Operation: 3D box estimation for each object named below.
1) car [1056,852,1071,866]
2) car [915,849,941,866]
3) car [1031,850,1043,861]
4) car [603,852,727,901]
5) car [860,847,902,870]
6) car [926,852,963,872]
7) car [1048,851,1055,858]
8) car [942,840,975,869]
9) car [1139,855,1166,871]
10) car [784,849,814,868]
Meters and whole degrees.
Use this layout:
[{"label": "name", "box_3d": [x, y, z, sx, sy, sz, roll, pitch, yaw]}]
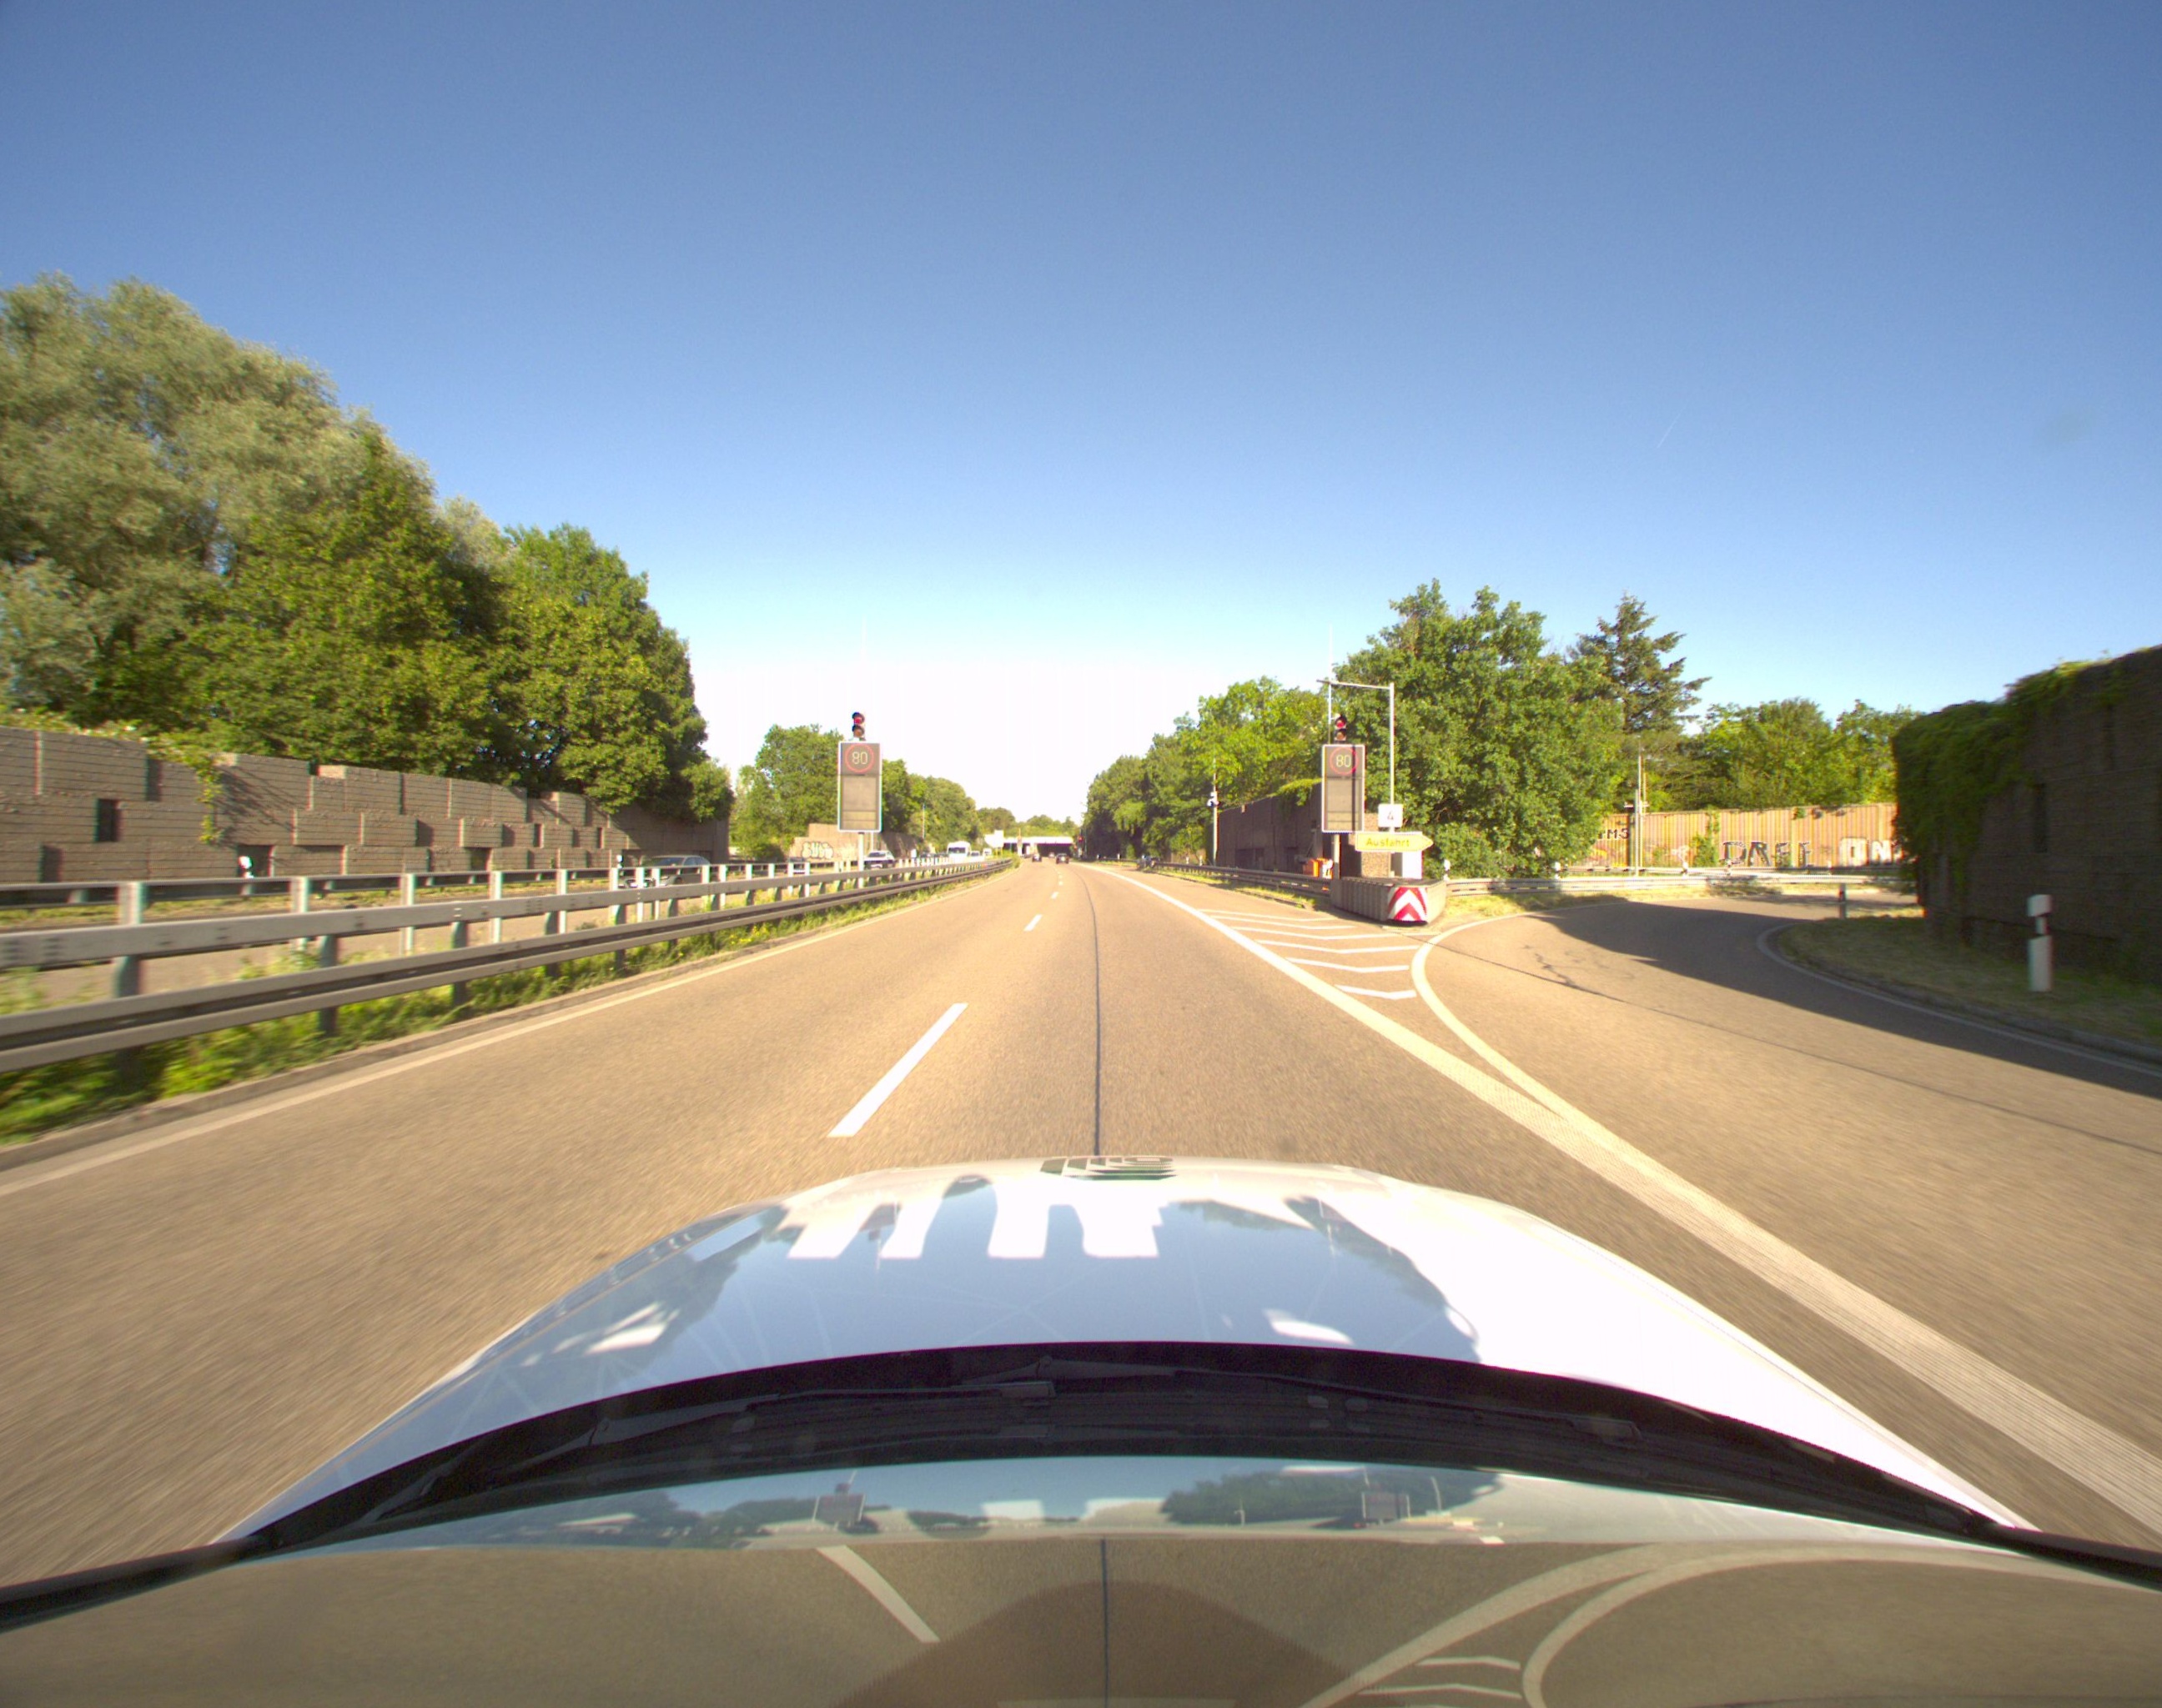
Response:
[{"label": "car", "box_3d": [-2.586, 0.718, 119.830, 1.990, 1.925, 3.993, 1, 0, -5]}, {"label": "car", "box_3d": [-16.096, 0.374, 86.123, 1.896, 1.620, 4.694, 2, 1, -1]}, {"label": "car", "box_3d": [-7.857, 0.310, 145.354, 1.990, 1.925, 3.993, 1, 0, -5]}, {"label": "car", "box_3d": [-14.521, 0.734, 28.756, 1.987, 1.480, 4.534, 2, 1, 0]}, {"label": "car", "box_3d": [-15.104, 0.300, 61.807, 1.987, 1.596, 4.621, 2, 1, 0]}, {"label": "car", "box_3d": [-10.956, 0.603, 65.735, 1.987, 1.434, 5.090, 2, 1, 0]}, {"label": "car", "box_3d": [-9.020, 0.207, 246.977, 1.990, 1.925, 3.994, 1, 0, -4]}, {"label": "car", "box_3d": [-11.993, 0.031, 80.383, 2.114, 2.683, 6.588, 2, 1, 0]}, {"label": "car", "box_3d": [7.503, 0.956, 86.036, 1.669, 1.552, 3.982, 2, 1, -13]}, {"label": "car", "box_3d": [-22.192, 0.333, 64.110, 2.001, 1.387, 4.000, 2, 1, -22]}]
